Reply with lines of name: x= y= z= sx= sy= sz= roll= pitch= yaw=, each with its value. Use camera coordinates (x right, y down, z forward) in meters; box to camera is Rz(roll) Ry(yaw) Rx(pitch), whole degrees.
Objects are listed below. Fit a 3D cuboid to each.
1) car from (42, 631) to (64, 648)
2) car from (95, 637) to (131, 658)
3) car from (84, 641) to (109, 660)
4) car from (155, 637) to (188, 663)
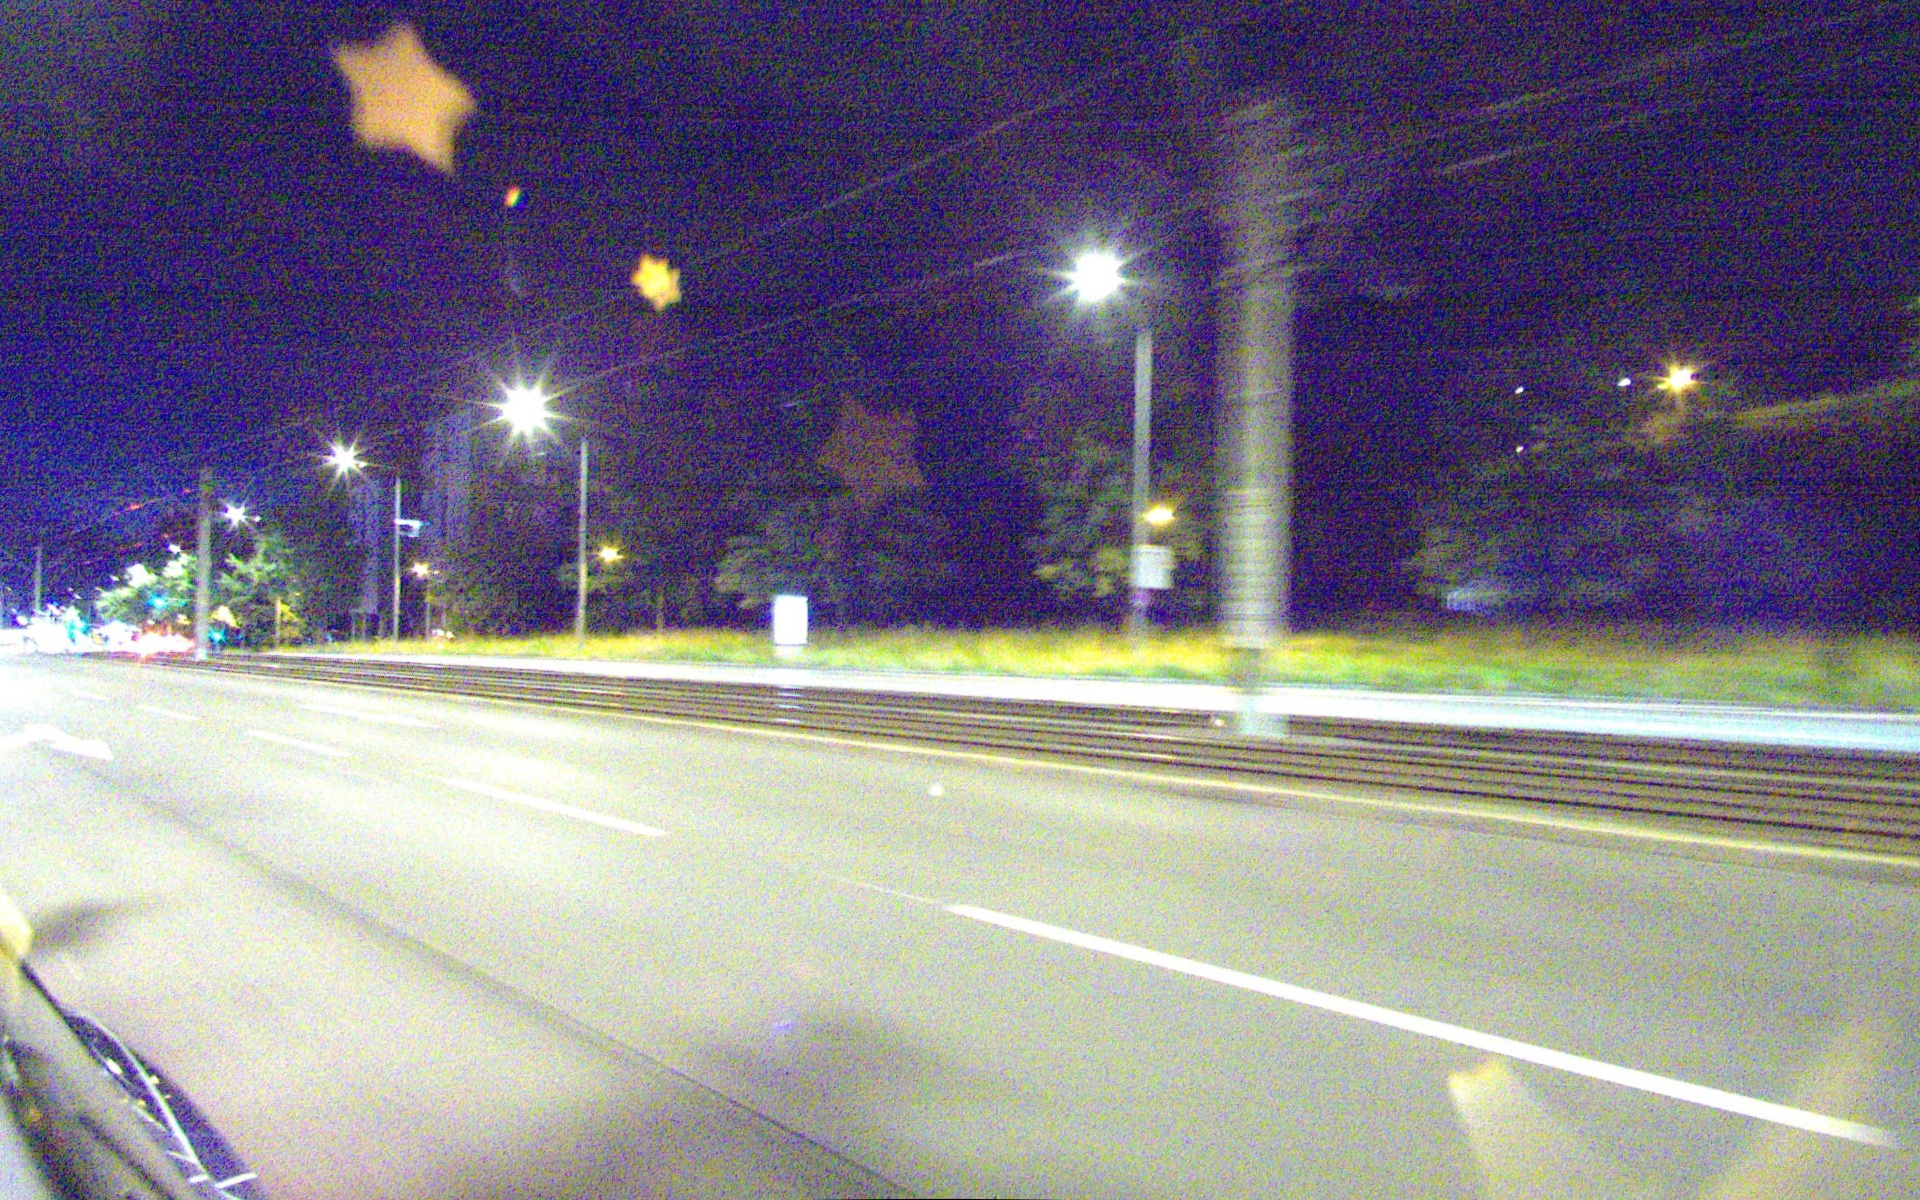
car: x=-106.989 y=4.618 z=119.364 sx=1.769 sy=1.921 sz=4.002 roll=-1 pitch=0 yaw=-45
car: x=-75.974 y=4.244 z=90.785 sx=3.997 sy=1.751 sz=1.772 roll=-1 pitch=0 yaw=40
car: x=-93.908 y=5.462 z=110.055 sx=1.769 sy=1.803 sz=4.002 roll=-1 pitch=0 yaw=-45
car: x=-68.554 y=4.341 z=87.978 sx=2.030 sy=2.029 sz=4.006 roll=-1 pitch=0 yaw=-41
